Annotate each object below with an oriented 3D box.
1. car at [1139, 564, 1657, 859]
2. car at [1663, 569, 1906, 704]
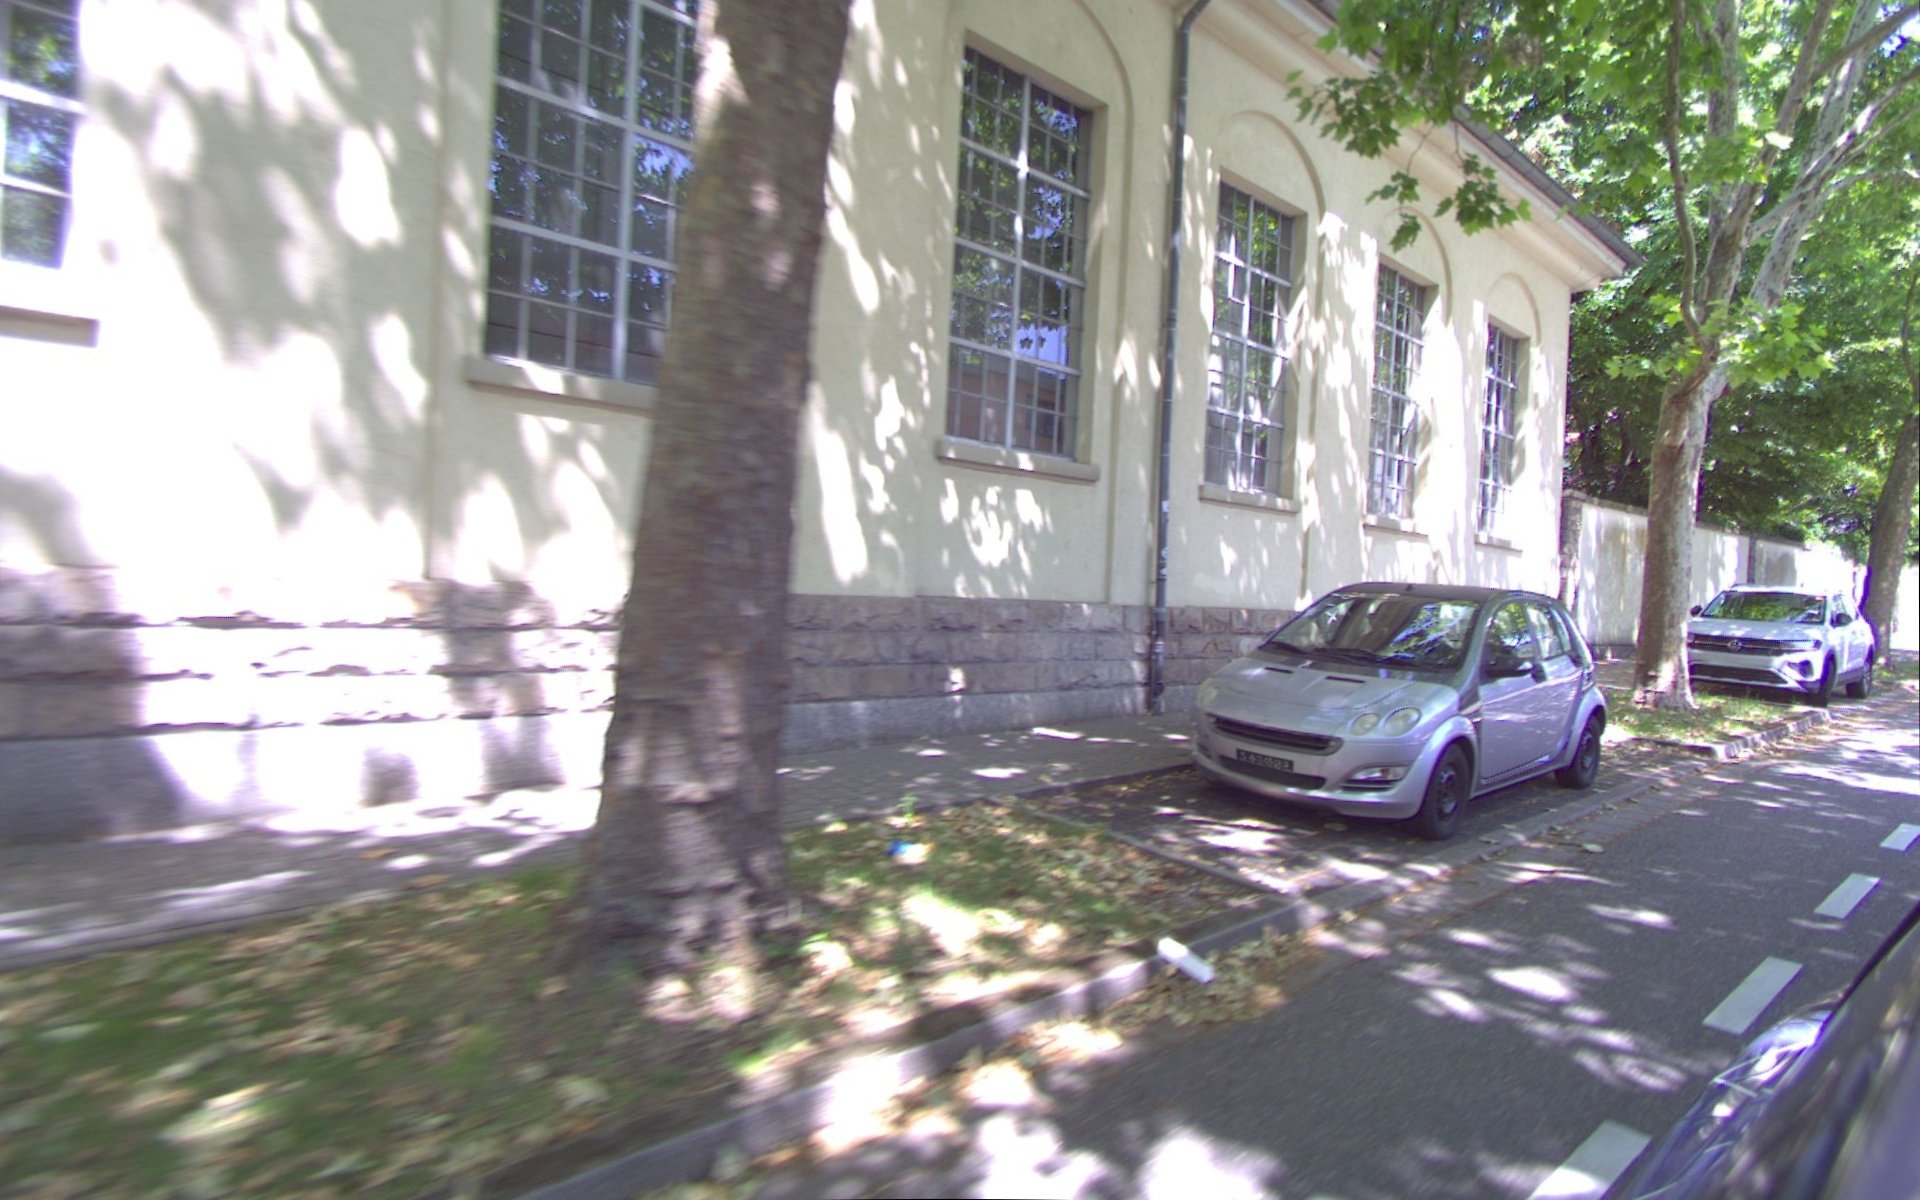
[{"bbox_3d":[3.333,0.552,7.243,4.355,1.457,1.625,0,4,-41],"label":"car"},{"bbox_3d":[12.007,0.460,14.621,4.694,1.576,1.746,1,3,-40],"label":"car"}]
